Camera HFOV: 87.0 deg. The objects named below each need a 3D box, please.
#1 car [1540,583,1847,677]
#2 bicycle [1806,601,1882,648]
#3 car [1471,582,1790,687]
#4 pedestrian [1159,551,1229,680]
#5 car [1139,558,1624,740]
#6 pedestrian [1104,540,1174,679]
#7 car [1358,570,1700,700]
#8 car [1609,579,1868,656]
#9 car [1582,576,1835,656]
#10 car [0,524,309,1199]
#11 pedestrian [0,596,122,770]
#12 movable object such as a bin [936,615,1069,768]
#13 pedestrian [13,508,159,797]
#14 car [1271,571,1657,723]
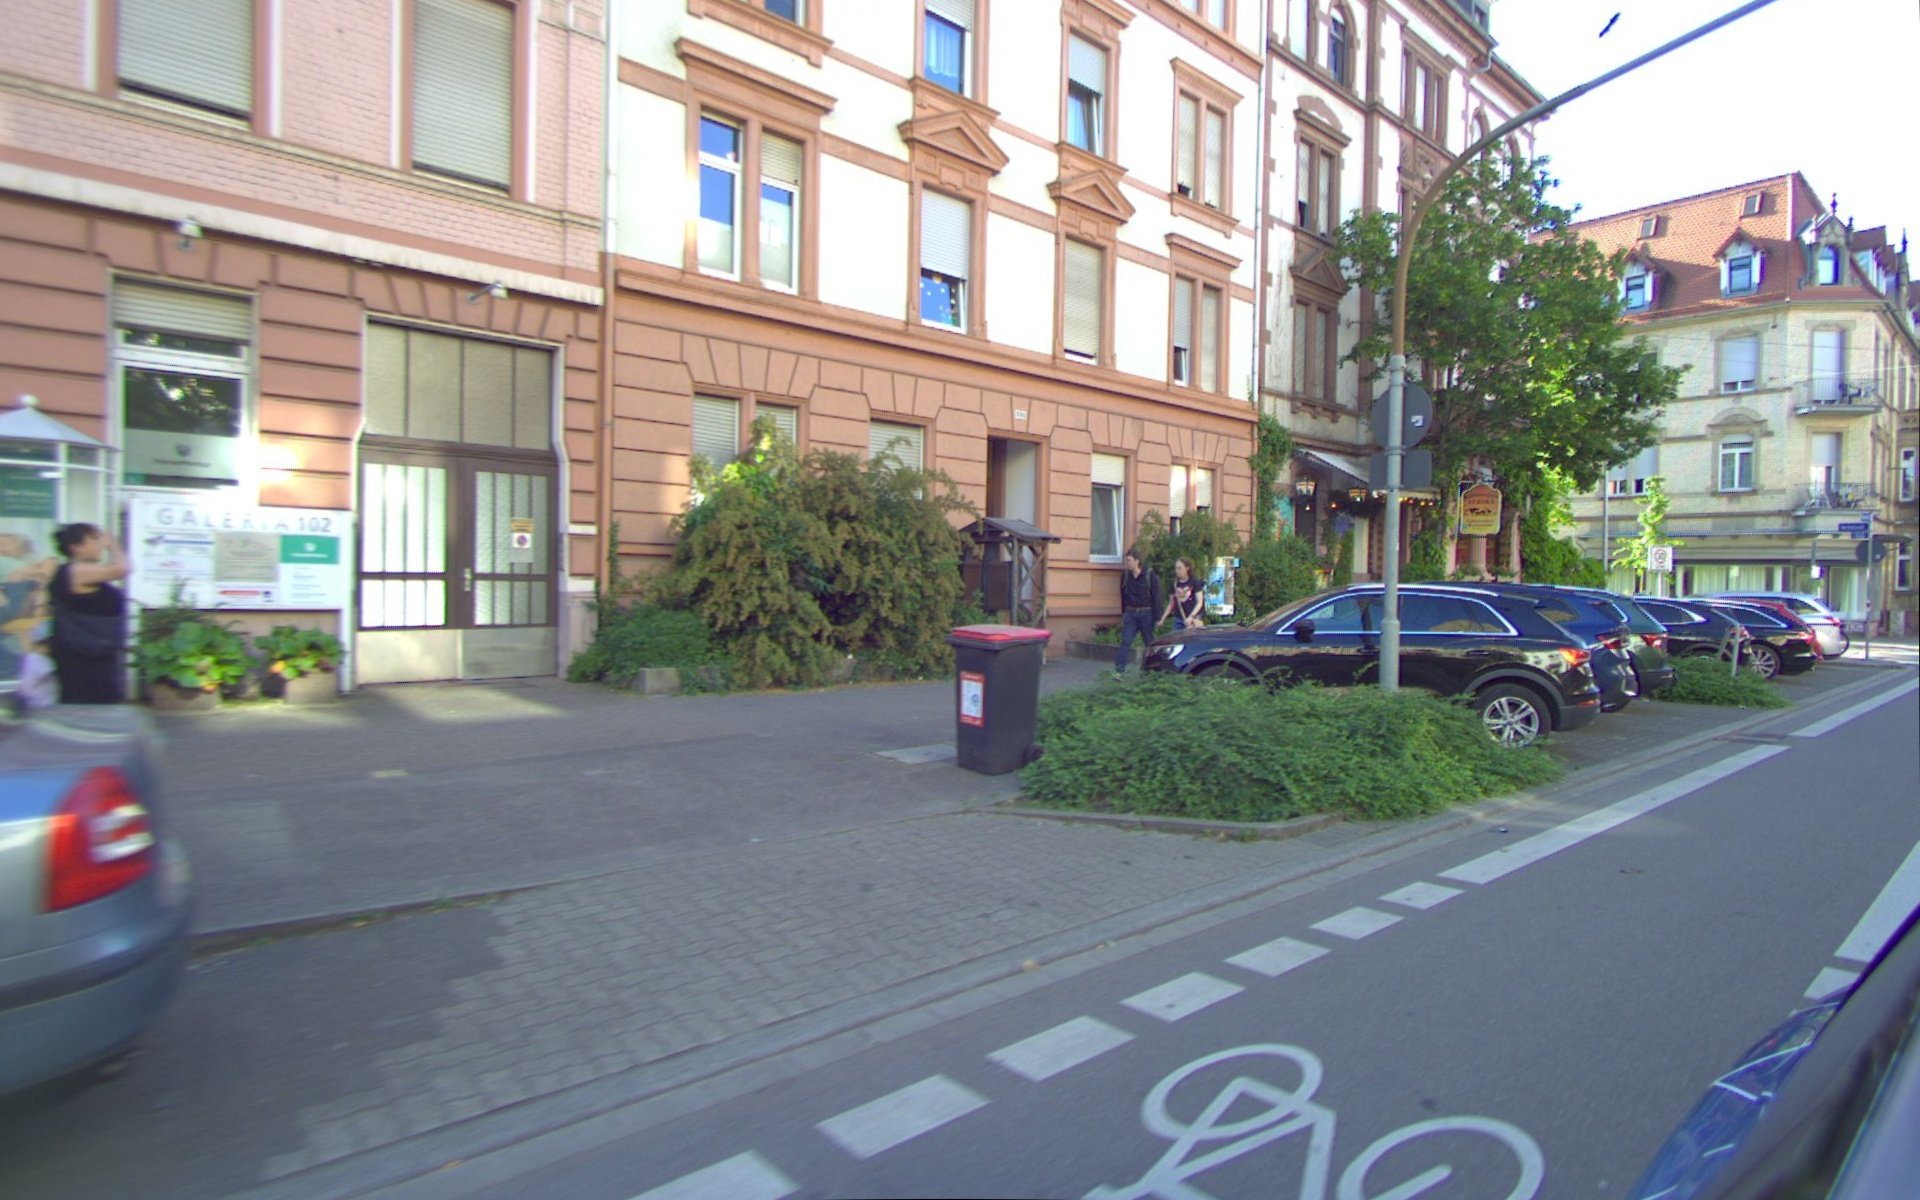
[{"bbox_3d":[13.734,0.482,19.340,4.403,1.616,2.071,0,1,26],"label":"car"},{"bbox_3d":[22.369,0.609,25.626,0.542,1.141,1.400,0,1,-40],"label":"bicycle"},{"bbox_3d":[11.235,0.499,17.401,4.287,1.616,2.028,0,1,26],"label":"car"},{"bbox_3d":[3.133,0.195,13.520,0.848,1.669,0.519,0,0,-41],"label":"pedestrian"},{"bbox_3d":[4.095,0.415,10.520,4.256,1.616,1.973,0,1,16],"label":"car"},{"bbox_3d":[2.412,0.113,13.607,0.848,1.800,0.519,0,0,-41],"label":"pedestrian"},{"bbox_3d":[7.816,0.410,14.321,3.958,1.616,1.942,0,1,26],"label":"car"},{"bbox_3d":[17.428,0.336,22.948,4.320,1.616,1.837,0,1,26],"label":"car"},{"bbox_3d":[15.542,0.287,21.300,3.958,1.556,1.902,0,1,26],"label":"car"},{"bbox_3d":[-3.900,0.660,1.605,4.636,1.616,1.877,-1,1,-41],"label":"car"},{"bbox_3d":[-5.827,0.499,6.524,0.643,0.992,0.713,0,4,-41],"label":"pedestrian"},{"bbox_3d":[0.321,0.651,7.602,0.792,1.040,0.605,0,1,-41],"label":"movable object such as a bin"},{"bbox_3d":[-5.320,0.289,6.176,0.643,1.627,0.713,0,0,-41],"label":"pedestrian"},{"bbox_3d":[6.046,0.476,12.553,3.958,1.616,2.070,0,1,26],"label":"car"}]
